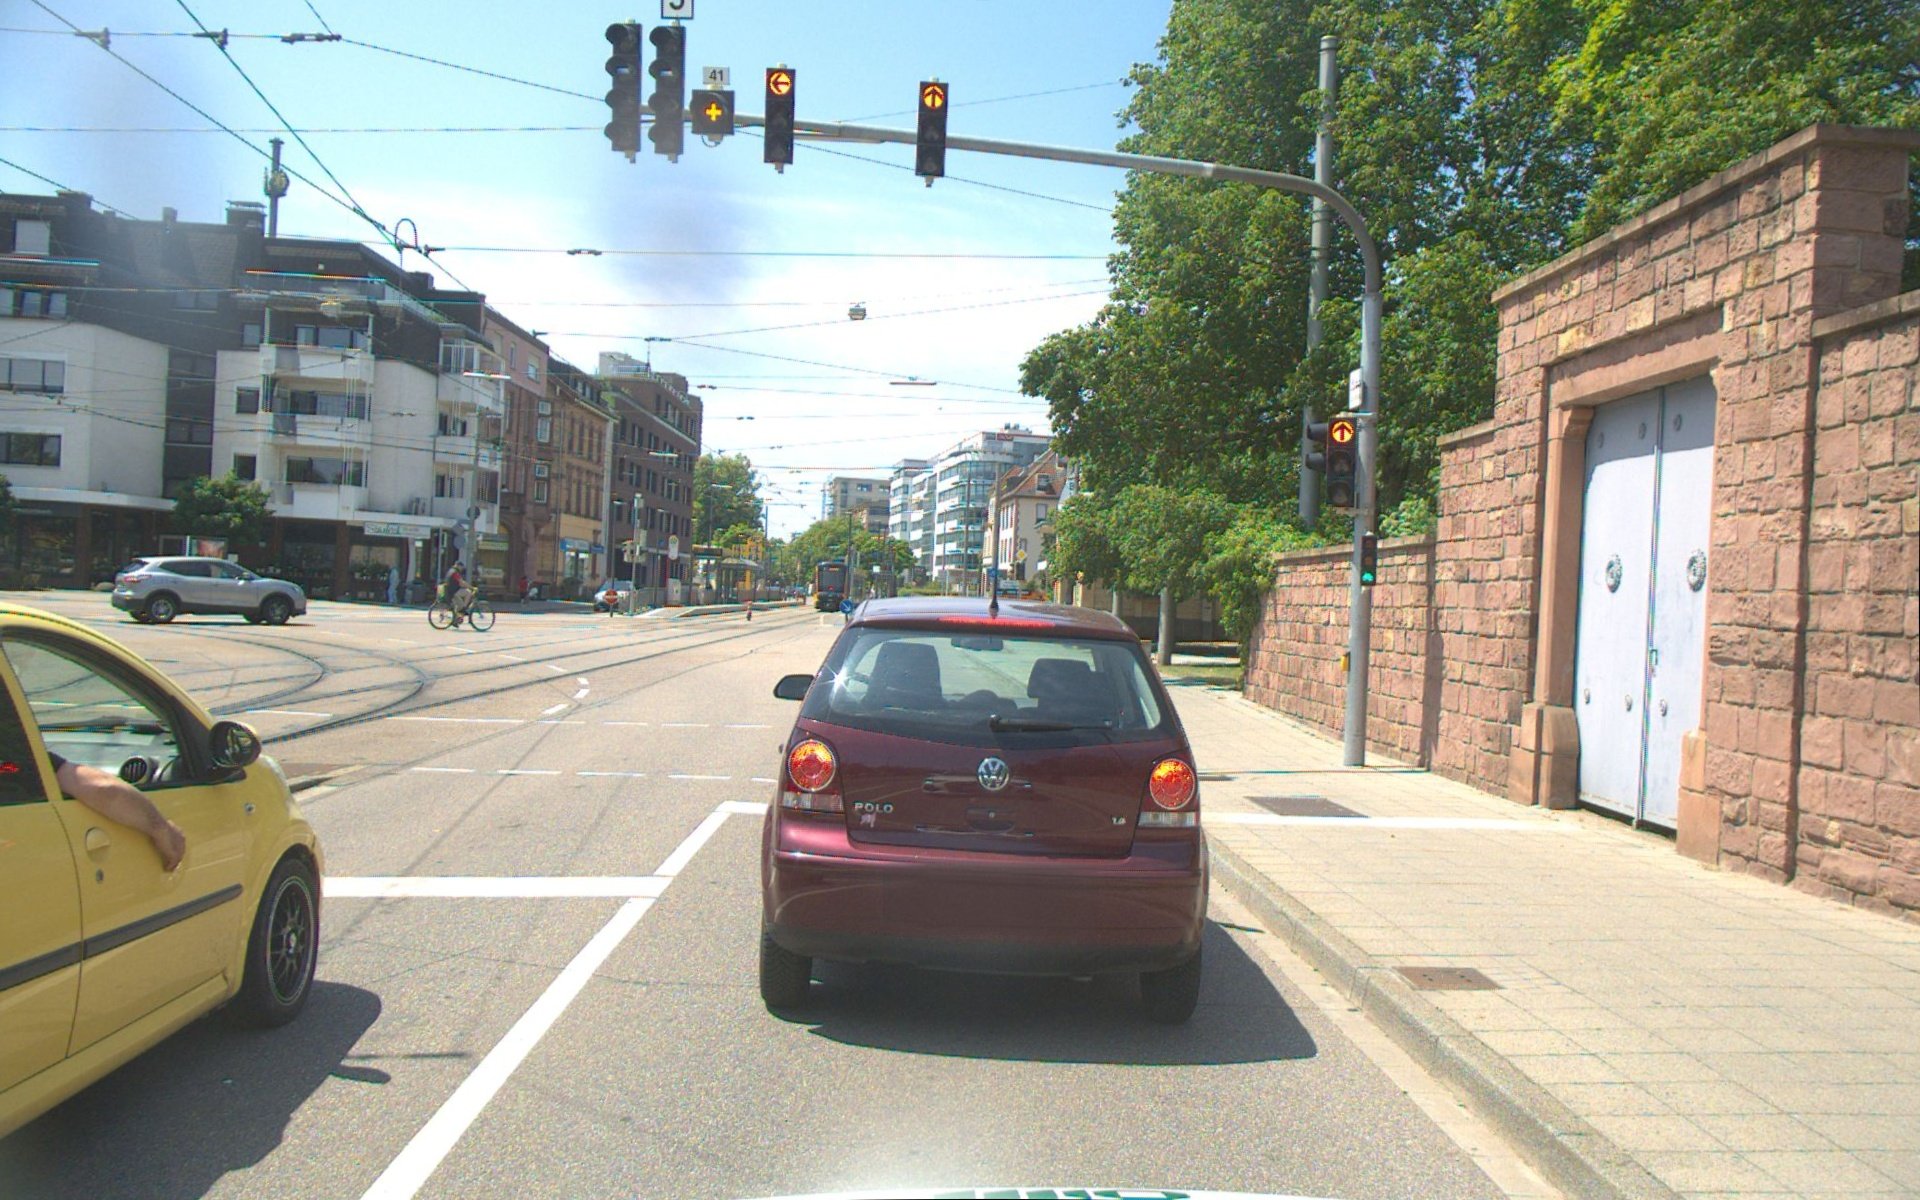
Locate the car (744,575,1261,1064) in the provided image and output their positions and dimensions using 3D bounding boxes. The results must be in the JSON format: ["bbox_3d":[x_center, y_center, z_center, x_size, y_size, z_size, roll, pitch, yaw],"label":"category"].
[{"bbox_3d":[0.068,0.690,7.265,1.578,1.489,4.084,2,0,-2],"label":"car"}]

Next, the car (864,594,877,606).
[{"bbox_3d":[-11.146,-0.035,207.044,1.541,1.440,3.719,0,0,-2],"label":"car"}]

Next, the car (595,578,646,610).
[{"bbox_3d":[-17.001,-0.311,83.071,1.654,1.488,4.000,2,0,0],"label":"car"}]

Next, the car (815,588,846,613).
[{"bbox_3d":[-9.075,0.053,116.007,1.899,1.670,3.998,1,-1,-2],"label":"car"}]

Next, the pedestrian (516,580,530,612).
[{"bbox_3d":[-21.550,-0.189,81.484,0.473,1.568,0.538,1,-1,5],"label":"pedestrian"}]

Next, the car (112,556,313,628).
[{"bbox_3d":[-18.225,-0.166,40.408,4.112,1.612,1.912,2,-1,-40],"label":"car"}]

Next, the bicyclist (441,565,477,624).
[{"bbox_3d":[-13.080,-0.134,43.163,0.745,1.527,0.475,2,-1,-41],"label":"bicyclist"}]

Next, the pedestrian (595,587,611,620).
[{"bbox_3d":[-20.295,0.190,93.980,0.648,1.818,0.815,2,0,-1],"label":"pedestrian"}]

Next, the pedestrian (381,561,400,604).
[{"bbox_3d":[-23.951,-0.729,69.555,0.497,1.785,0.606,0,-1,45],"label":"pedestrian"}]

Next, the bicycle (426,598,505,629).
[{"bbox_3d":[-12.929,0.358,43.292,1.969,0.797,0.459,2,-1,-41],"label":"bicycle"}]

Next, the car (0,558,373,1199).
[{"bbox_3d":[-2.926,0.627,4.296,1.688,1.470,3.292,0,1,-2],"label":"car"}]
